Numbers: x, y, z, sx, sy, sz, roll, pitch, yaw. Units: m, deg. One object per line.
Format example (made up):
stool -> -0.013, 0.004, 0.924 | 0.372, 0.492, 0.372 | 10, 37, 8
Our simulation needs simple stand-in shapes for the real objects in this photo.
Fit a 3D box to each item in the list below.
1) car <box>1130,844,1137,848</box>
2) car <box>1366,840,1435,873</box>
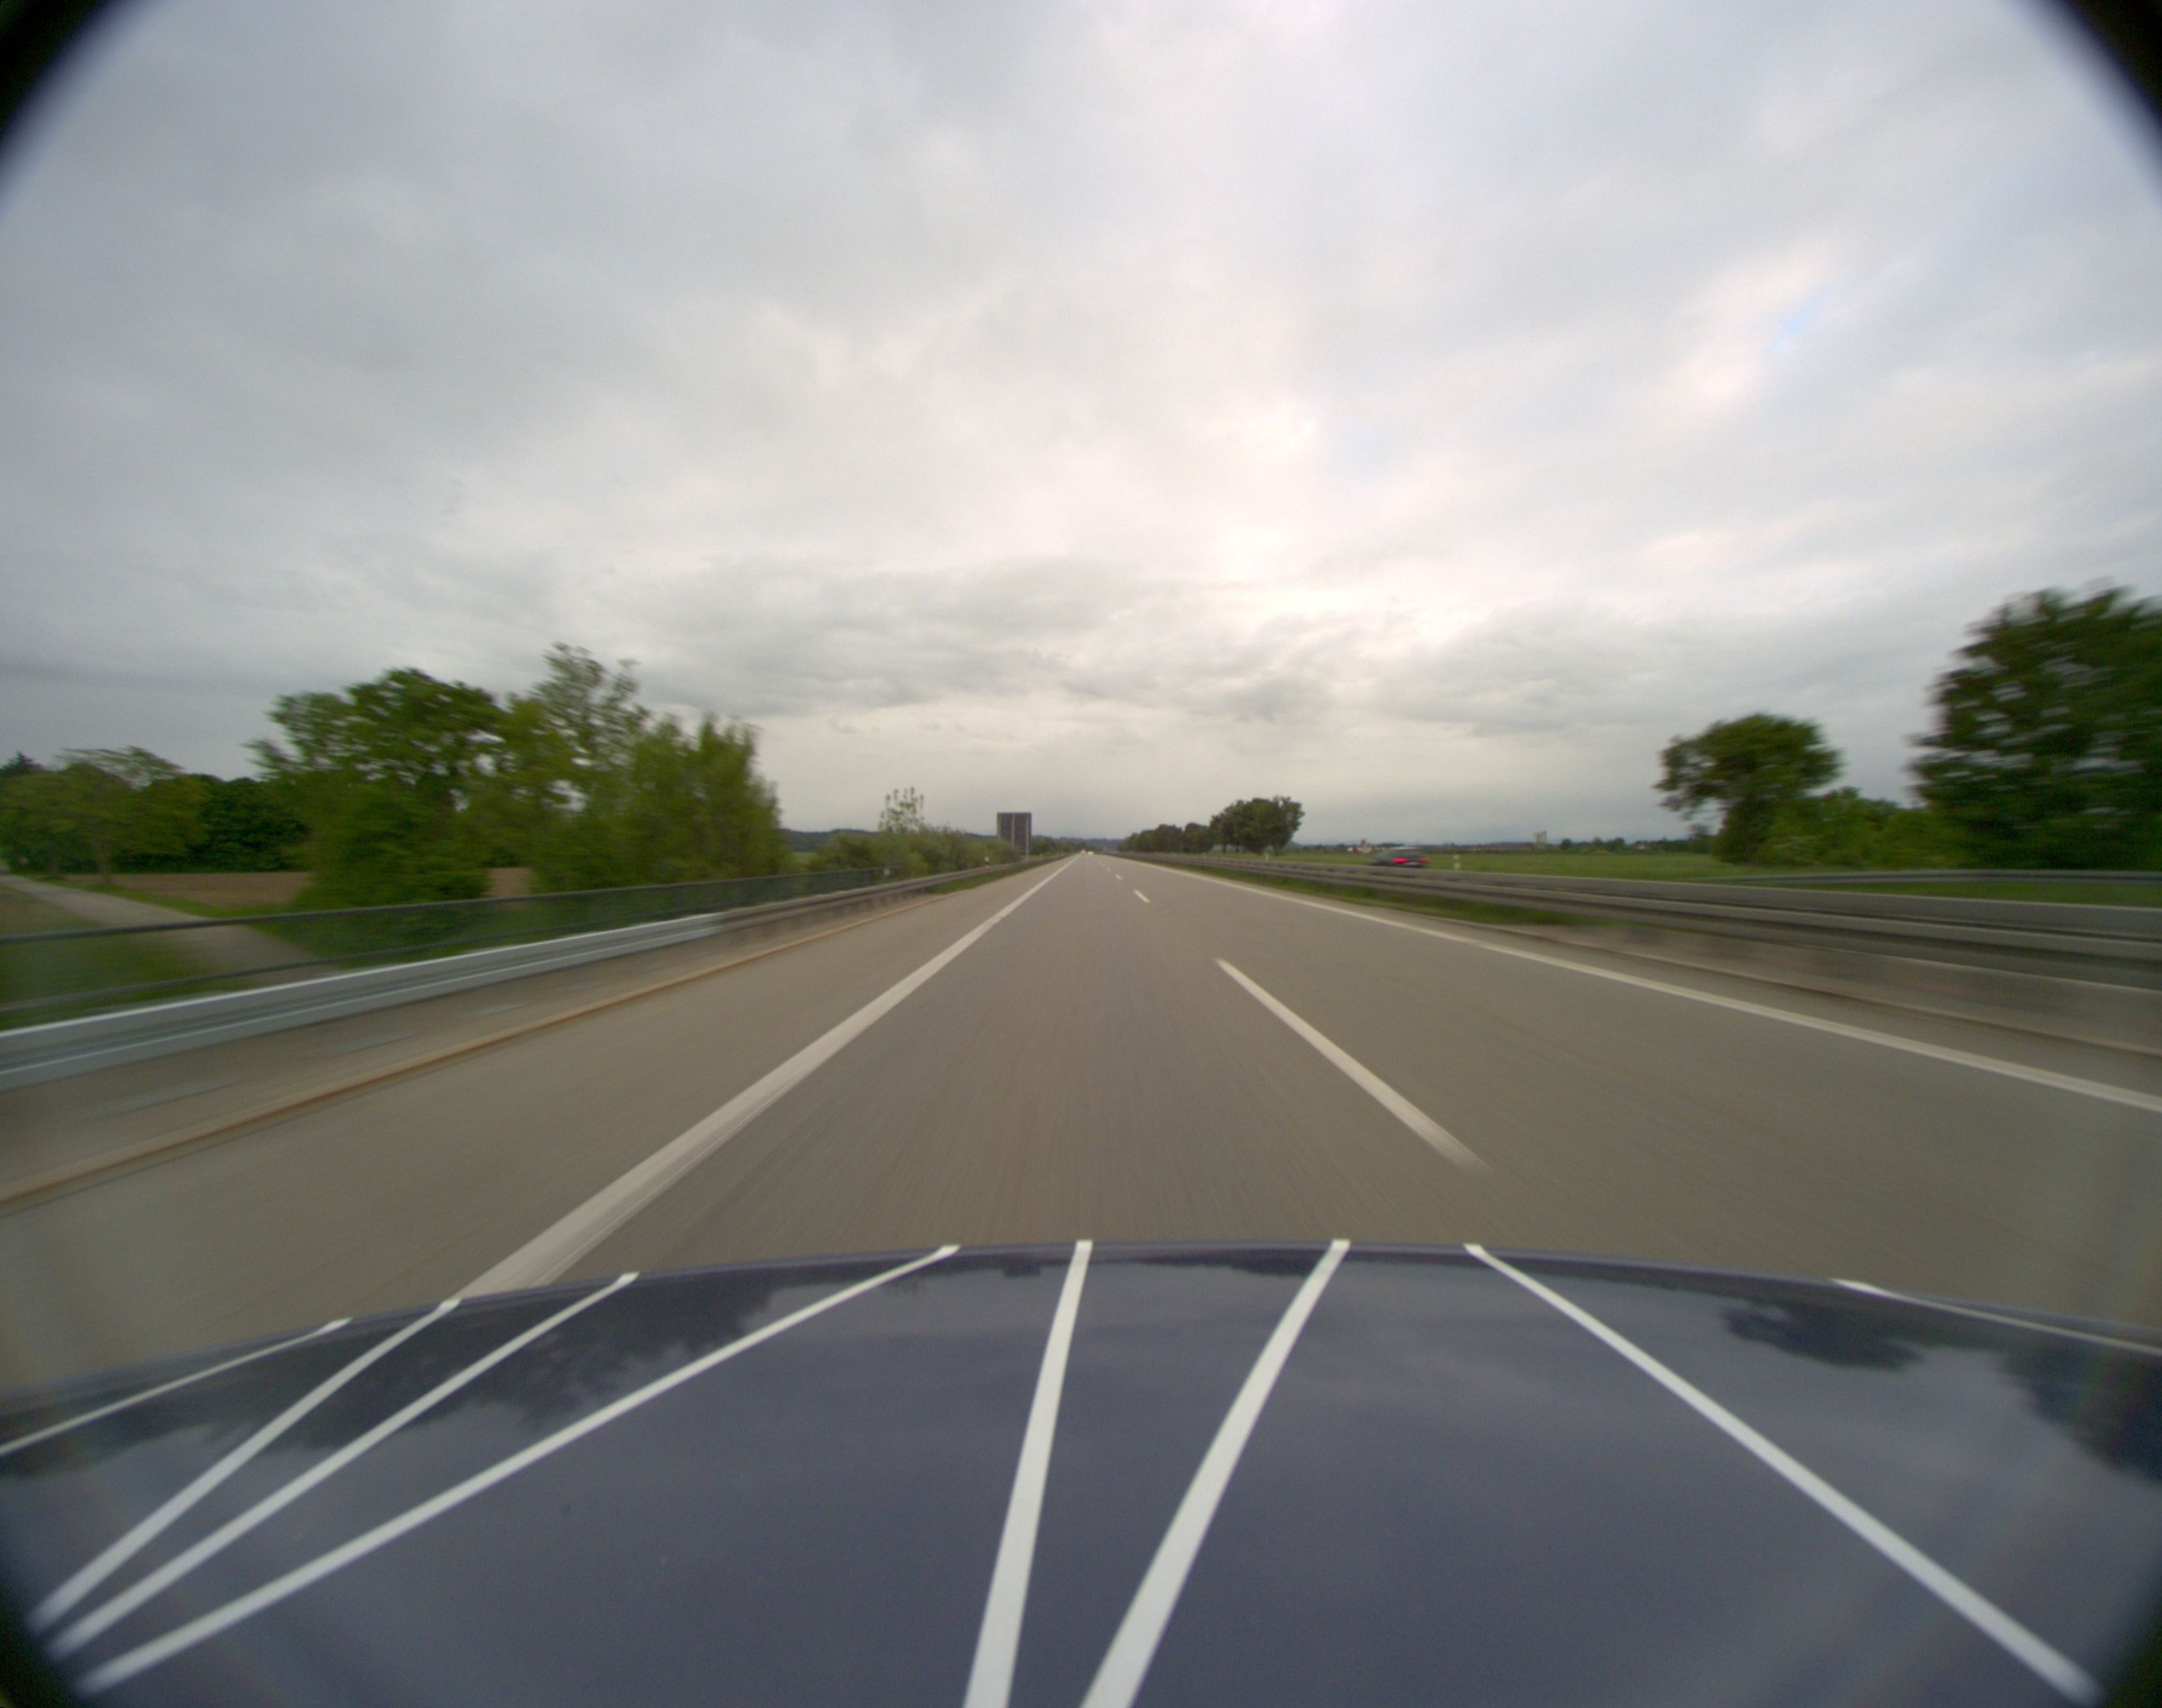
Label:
car -> 18.312, -2.858, 266.163 | 1.998, 1.437, 3.999 | -2, 1, 1
car -> 17.122, 0.081, 40.967 | 1.822, 1.553, 4.522 | -3, 1, 0
